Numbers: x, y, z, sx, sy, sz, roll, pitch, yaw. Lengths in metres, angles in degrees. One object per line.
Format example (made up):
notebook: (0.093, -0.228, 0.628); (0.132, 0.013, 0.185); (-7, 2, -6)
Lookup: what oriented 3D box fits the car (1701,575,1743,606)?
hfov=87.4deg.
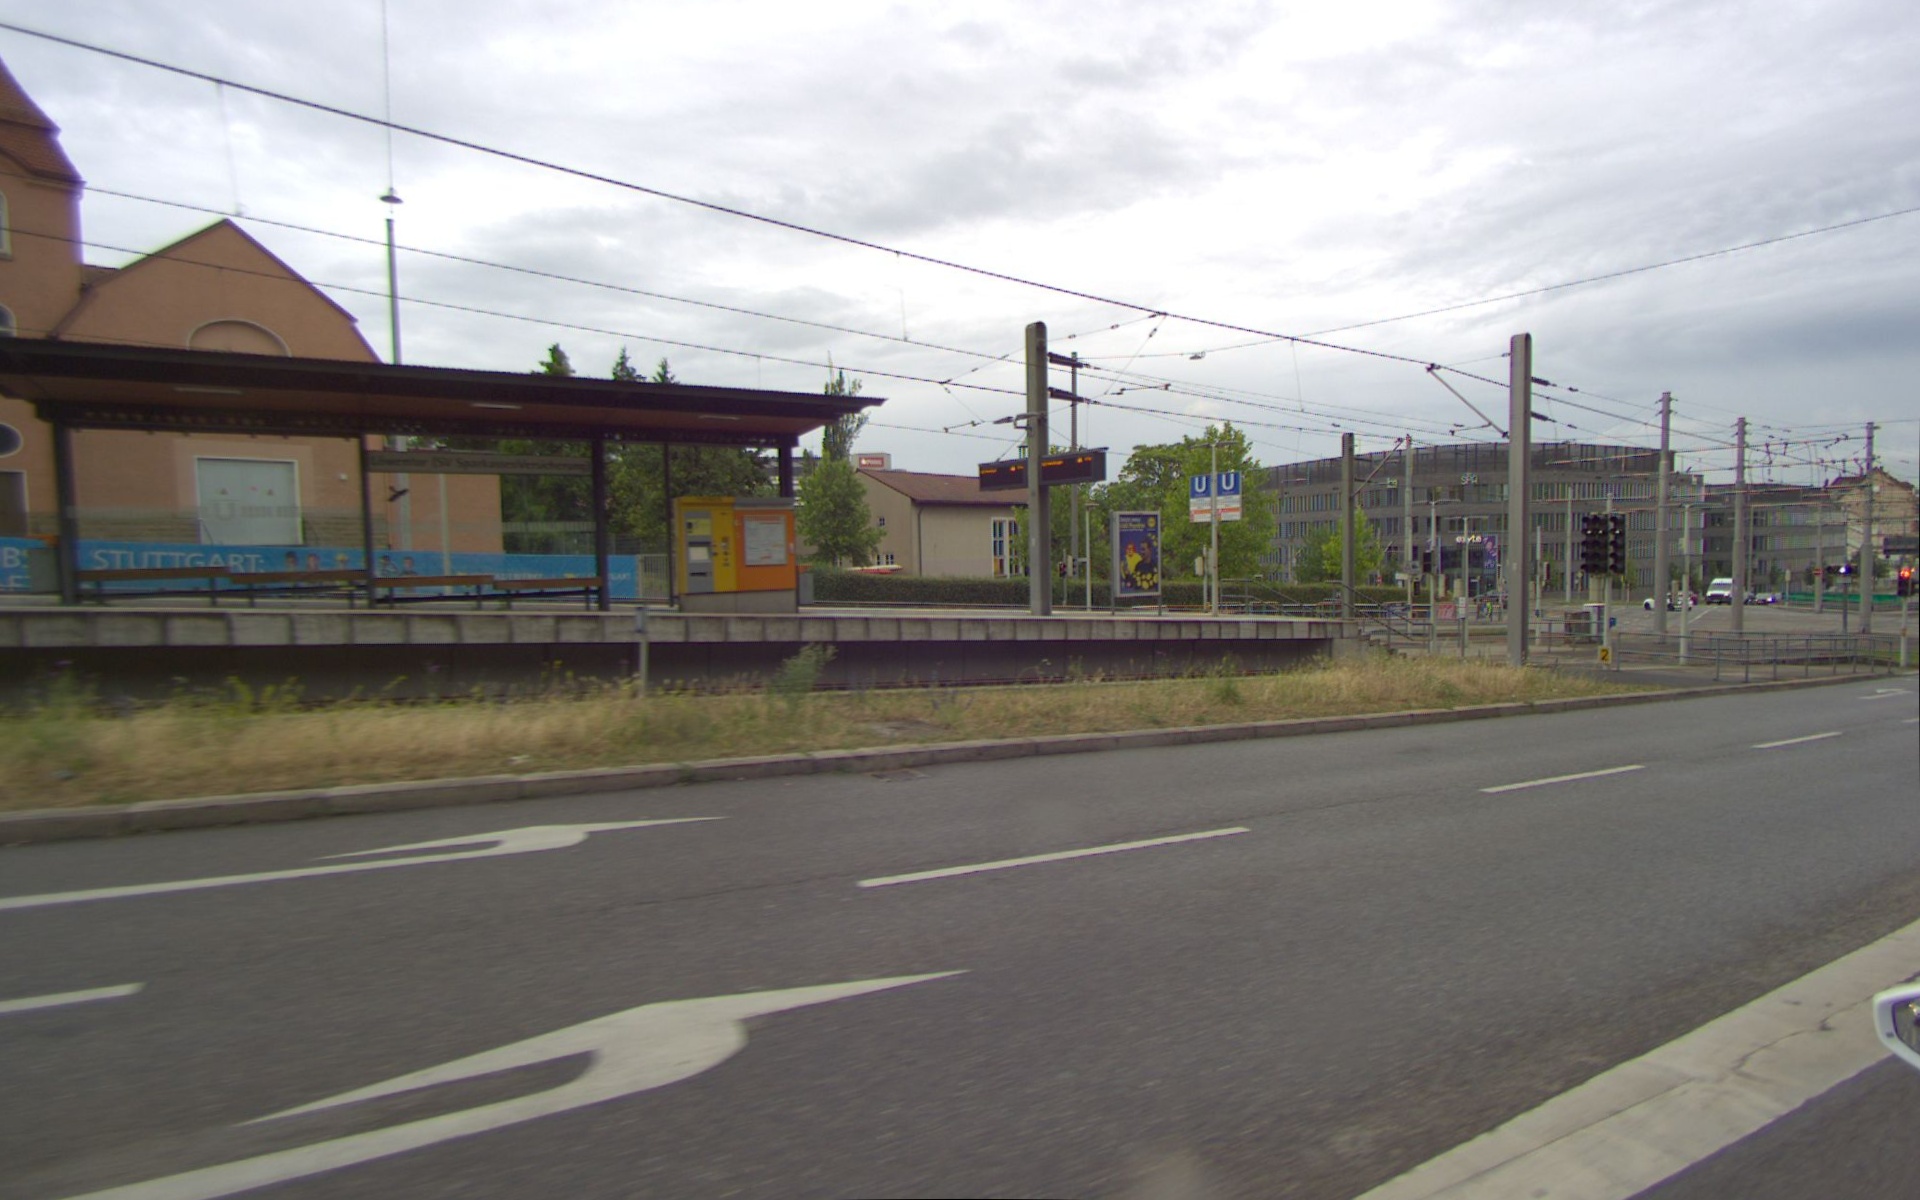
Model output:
car: (74.623, -0.945, 98.308); (5.668, 2.869, 1.978); (-1, 0, -39)

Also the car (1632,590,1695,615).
car: (59.331, 0.176, 84.748); (1.966, 2.040, 3.988); (2, 0, -14)
